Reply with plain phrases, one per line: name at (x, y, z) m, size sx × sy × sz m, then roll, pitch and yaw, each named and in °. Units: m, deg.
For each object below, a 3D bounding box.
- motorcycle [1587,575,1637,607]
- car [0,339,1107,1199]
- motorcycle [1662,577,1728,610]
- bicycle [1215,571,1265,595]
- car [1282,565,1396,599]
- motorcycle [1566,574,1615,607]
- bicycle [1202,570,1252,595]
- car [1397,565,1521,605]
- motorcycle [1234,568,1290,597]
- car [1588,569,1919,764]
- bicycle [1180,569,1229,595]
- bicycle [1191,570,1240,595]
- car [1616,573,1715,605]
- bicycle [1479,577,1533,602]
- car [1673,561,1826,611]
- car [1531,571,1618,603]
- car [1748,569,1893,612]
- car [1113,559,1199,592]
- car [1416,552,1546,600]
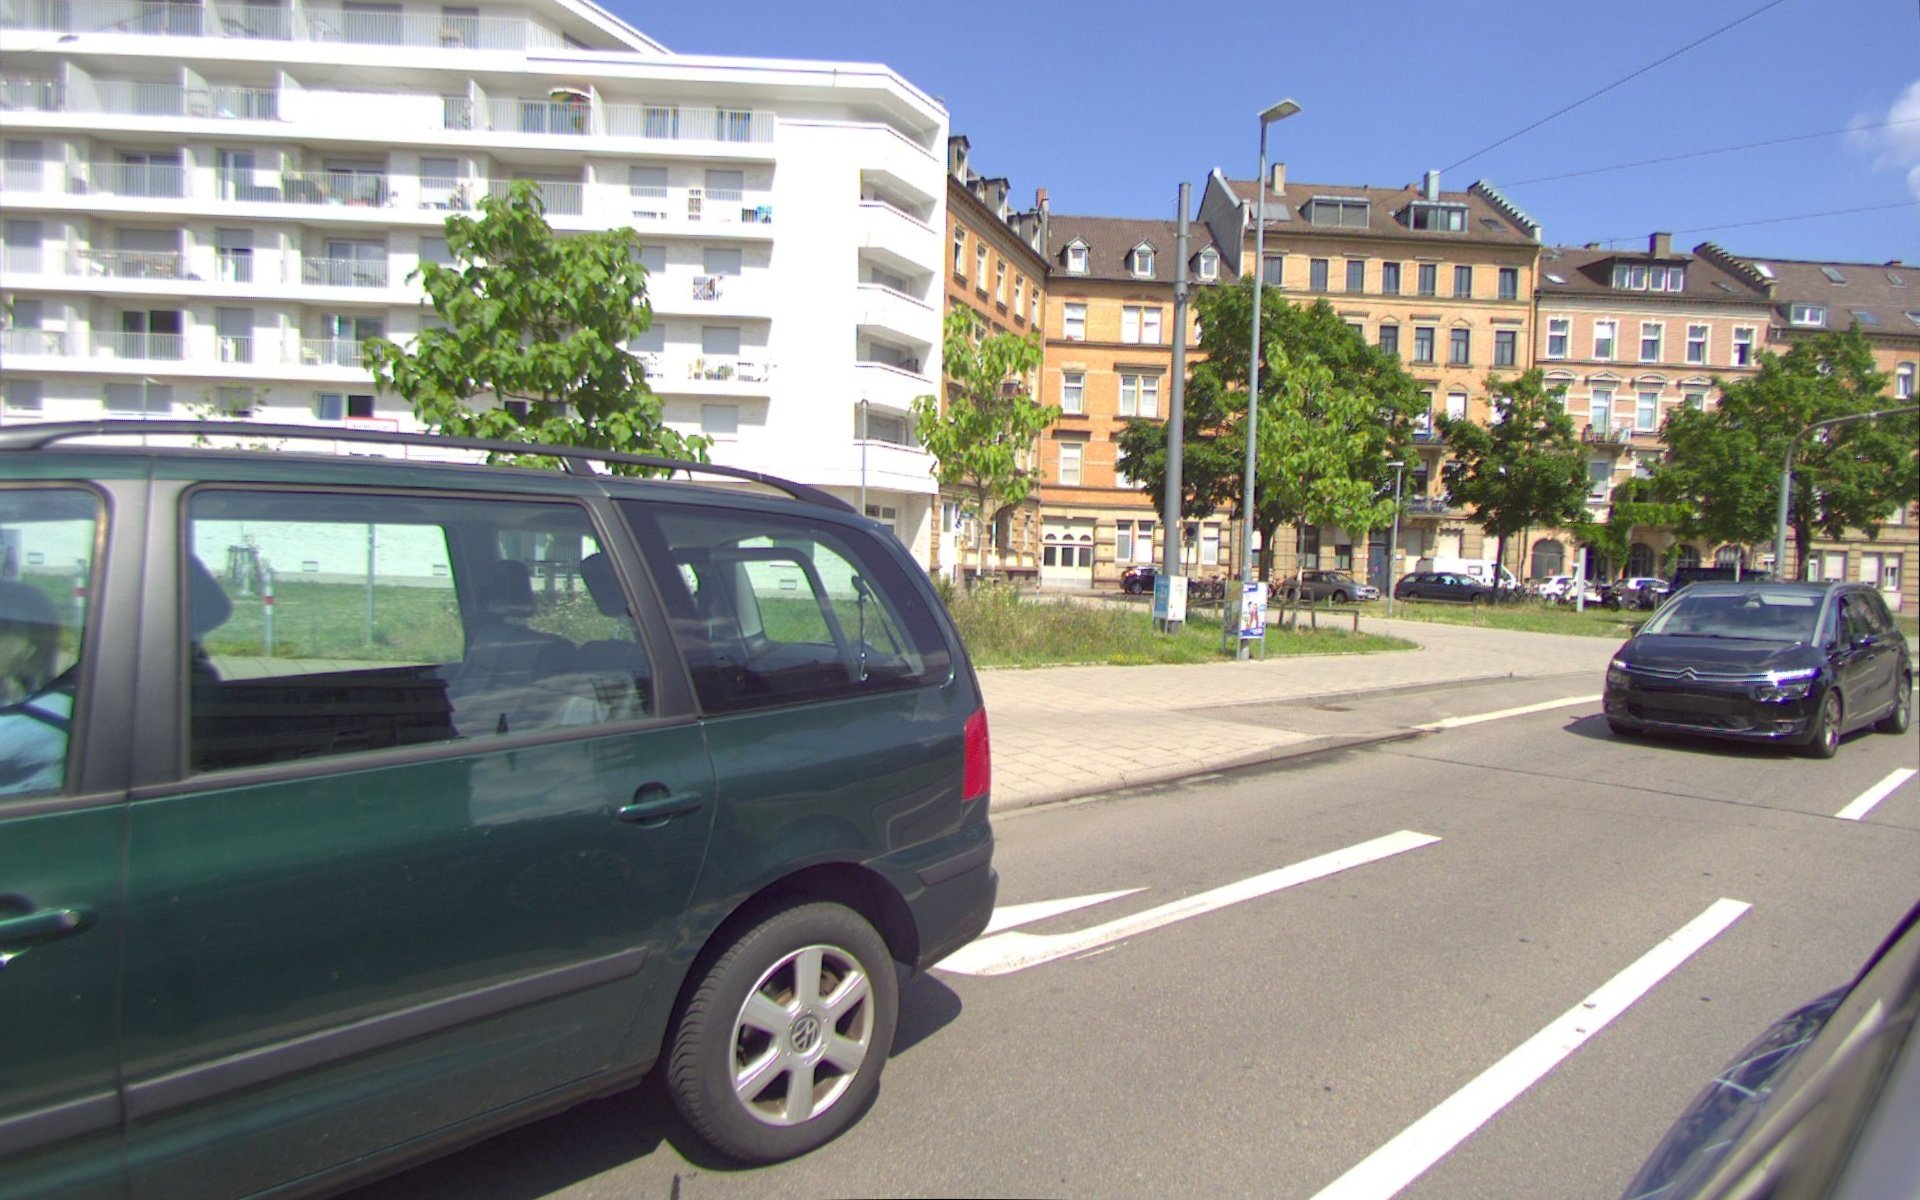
motorcycle at (25.091, -0.357, 38.965) m, size 0.627 × 1.181 × 1.791 m, roll 1°, pitch 2°, yaw -3°
car at (-1.985, 0.474, 2.277) m, size 4.944 × 1.778 × 1.822 m, roll 0°, pitch 1°, yaw -42°
motorcycle at (27.810, -0.265, 38.317) m, size 1.876 × 1.181 × 0.638 m, roll 2°, pitch 2°, yaw 11°
bicycle at (11.438, -0.706, 41.397) m, size 0.532 × 0.968 × 2.396 m, roll 1°, pitch 1°, yaw -25°
car at (15.175, -0.747, 40.705) m, size 1.825 × 1.260 × 4.172 m, roll 1°, pitch 1°, yaw -26°
motorcycle at (24.230, -0.375, 38.932) m, size 0.627 × 1.181 × 1.791 m, roll 1°, pitch 2°, yaw -3°
bicycle at (10.819, -0.720, 41.110) m, size 0.532 × 0.981 × 2.396 m, roll 1°, pitch 1°, yaw -25°
car at (20.365, -0.644, 41.484) m, size 1.769 × 1.445 × 4.265 m, roll 1°, pitch 2°, yaw -31°
motorcycle at (12.408, -0.740, 41.628) m, size 0.796 × 1.139 × 2.396 m, roll 1°, pitch 1°, yaw -25°
car at (8.484, 0.506, 10.602) m, size 4.112 × 1.639 × 1.876 m, roll -1°, pitch 2°, yaw -37°
bicycle at (9.794, -0.731, 40.619) m, size 0.532 × 0.981 × 2.396 m, roll 1°, pitch 1°, yaw -25°
bicycle at (10.297, -0.726, 40.869) m, size 0.532 × 0.981 × 2.396 m, roll 1°, pitch 1°, yaw -25°
car at (35.196, -0.541, 50.539) m, size 3.779 × 1.510 × 1.665 m, roll 1°, pitch 1°, yaw -1°
bicycle at (20.546, -0.387, 38.101) m, size 1.784 × 0.912 × 0.544 m, roll 1°, pitch 1°, yaw -5°
car at (32.605, -0.584, 41.954) m, size 1.879 × 1.951 × 4.633 m, roll 1°, pitch 1°, yaw -32°
car at (30.514, -0.660, 50.321) m, size 3.288 × 1.420 × 1.569 m, roll 2°, pitch 2°, yaw 1°
car at (35.621, -0.433, 42.018) m, size 1.878 × 1.677 × 4.181 m, roll 1°, pitch 1°, yaw -28°
car at (9.518, -1.205, 49.366) m, size 3.779 × 1.510 × 1.665 m, roll 1°, pitch 1°, yaw -1°
car at (25.673, -1.199, 49.980) m, size 5.290 × 2.206 × 2.118 m, roll 1°, pitch 1°, yaw -1°
